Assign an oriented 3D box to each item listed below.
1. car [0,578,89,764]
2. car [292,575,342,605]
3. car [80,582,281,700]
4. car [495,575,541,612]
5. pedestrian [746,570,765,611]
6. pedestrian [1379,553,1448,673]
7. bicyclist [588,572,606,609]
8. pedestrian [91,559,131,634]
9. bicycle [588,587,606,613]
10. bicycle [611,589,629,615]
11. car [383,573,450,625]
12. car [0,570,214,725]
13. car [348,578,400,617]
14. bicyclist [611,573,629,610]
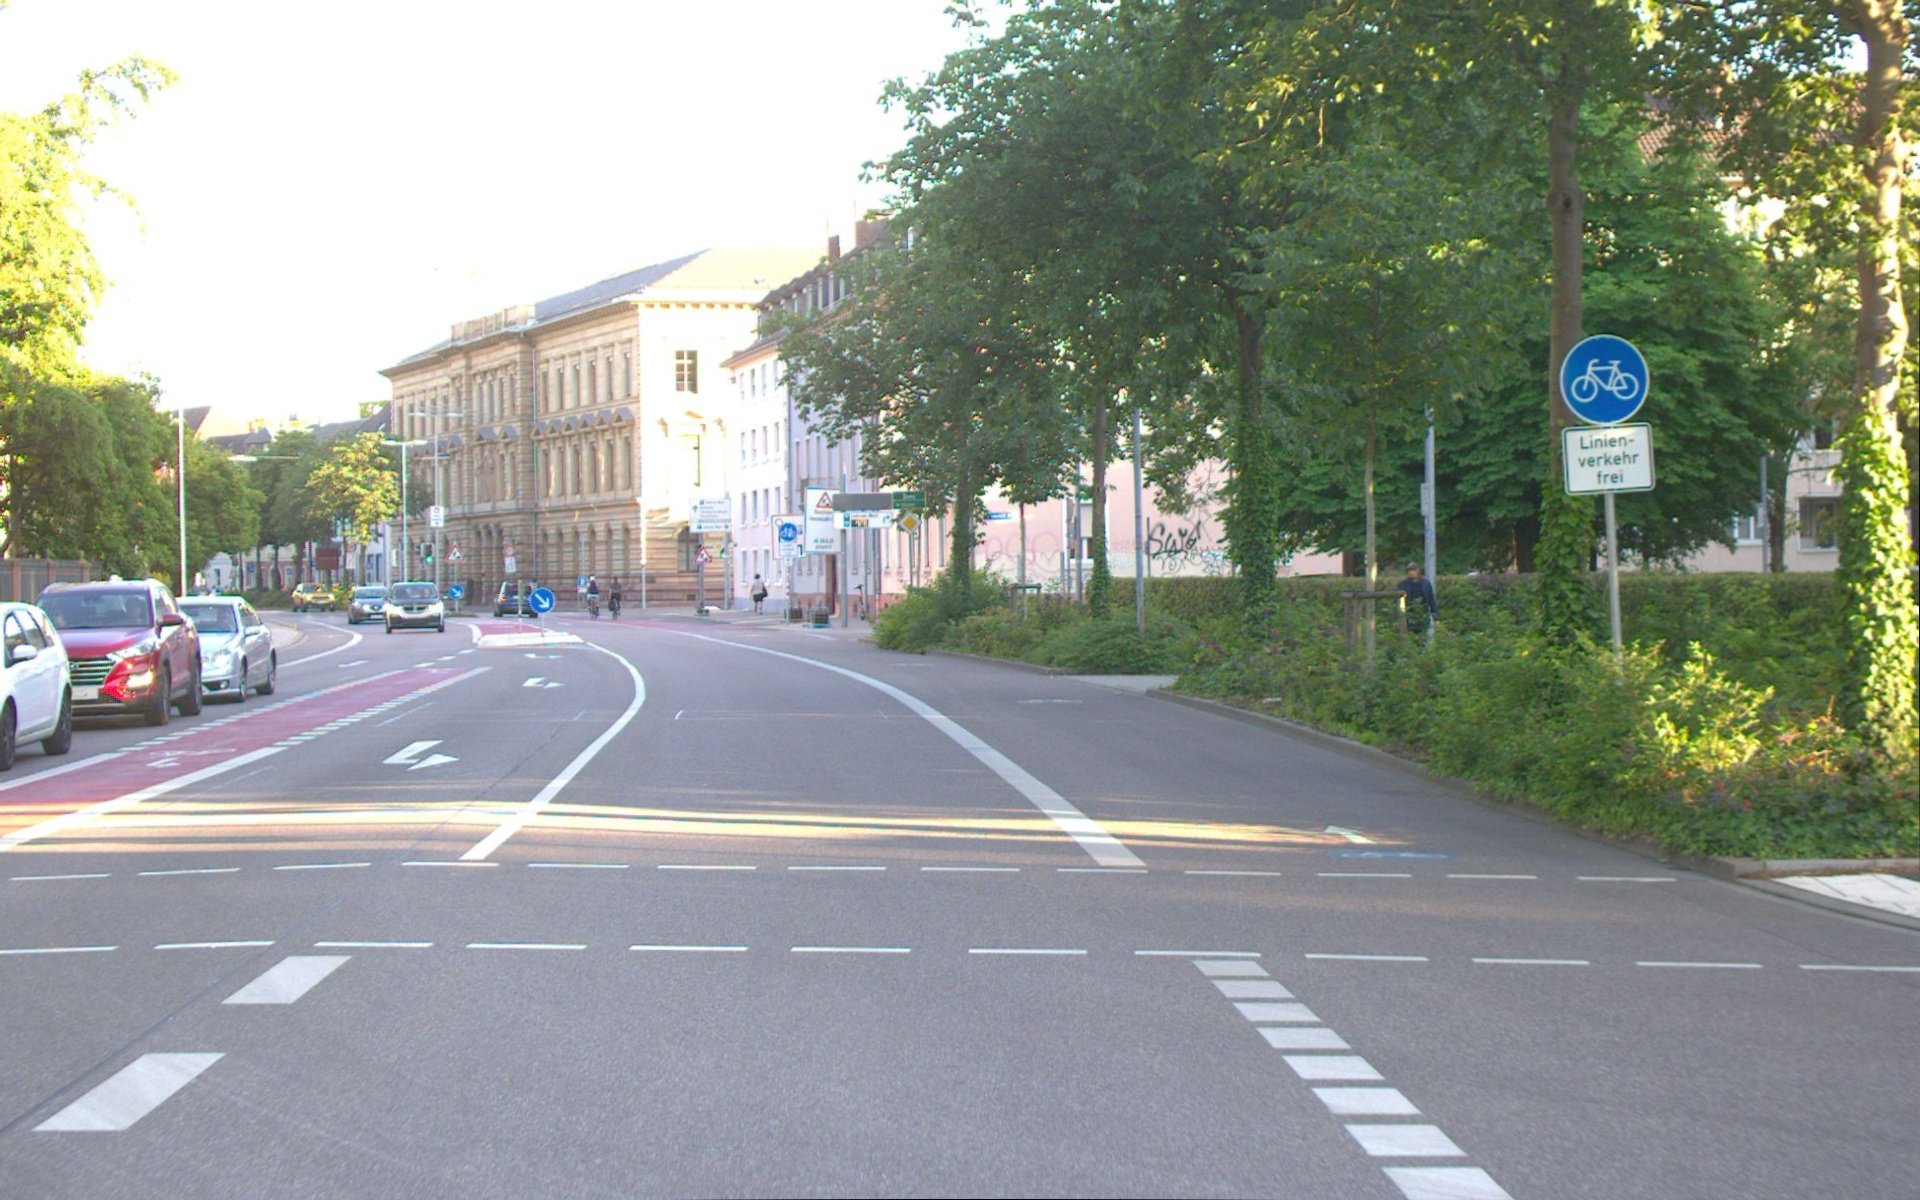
[{"bbox_3d":[-9.341,0.634,31.262,1.916,1.578,4.675,-2,1,-4],"label":"car"},{"bbox_3d":[-34.780,-0.560,185.820,1.993,1.579,4.001,0,0,-21],"label":"car"},{"bbox_3d":[-10.464,0.515,46.485,1.916,1.413,4.771,-2,1,-4],"label":"car"},{"bbox_3d":[-18.601,-0.275,144.657,1.867,1.505,4.001,0,0,-7],"label":"car"},{"bbox_3d":[-8.630,-0.406,144.999,0.762,1.749,0.845,0,0,-3],"label":"pedestrian"},{"bbox_3d":[6.583,0.183,49.924,0.769,1.733,0.807,-1,0,-10],"label":"pedestrian"},{"bbox_3d":[-14.451,-0.372,136.930,0.652,1.441,0.879,2,0,-5],"label":"bicyclist"},{"bbox_3d":[-18.262,-0.077,73.971,0.681,1.617,0.688,-1,0,0],"label":"pedestrian"},{"bbox_3d":[-14.471,-0.003,136.962,0.652,1.012,2.198,2,0,-5],"label":"bicycle"},{"bbox_3d":[-13.555,0.073,136.985,0.652,1.012,2.198,2,0,-4],"label":"bicycle"},{"bbox_3d":[-16.925,-0.035,106.952,1.848,1.521,4.001,-2,1,-12],"label":"car"},{"bbox_3d":[-9.952,0.499,39.703,1.916,1.619,4.640,-2,1,-4],"label":"car"},{"bbox_3d":[-22.947,-0.091,134.479,1.835,1.434,4.001,-2,1,-11],"label":"car"},{"bbox_3d":[-13.538,-0.335,136.885,0.652,1.470,0.941,2,0,-4],"label":"bicyclist"}]
